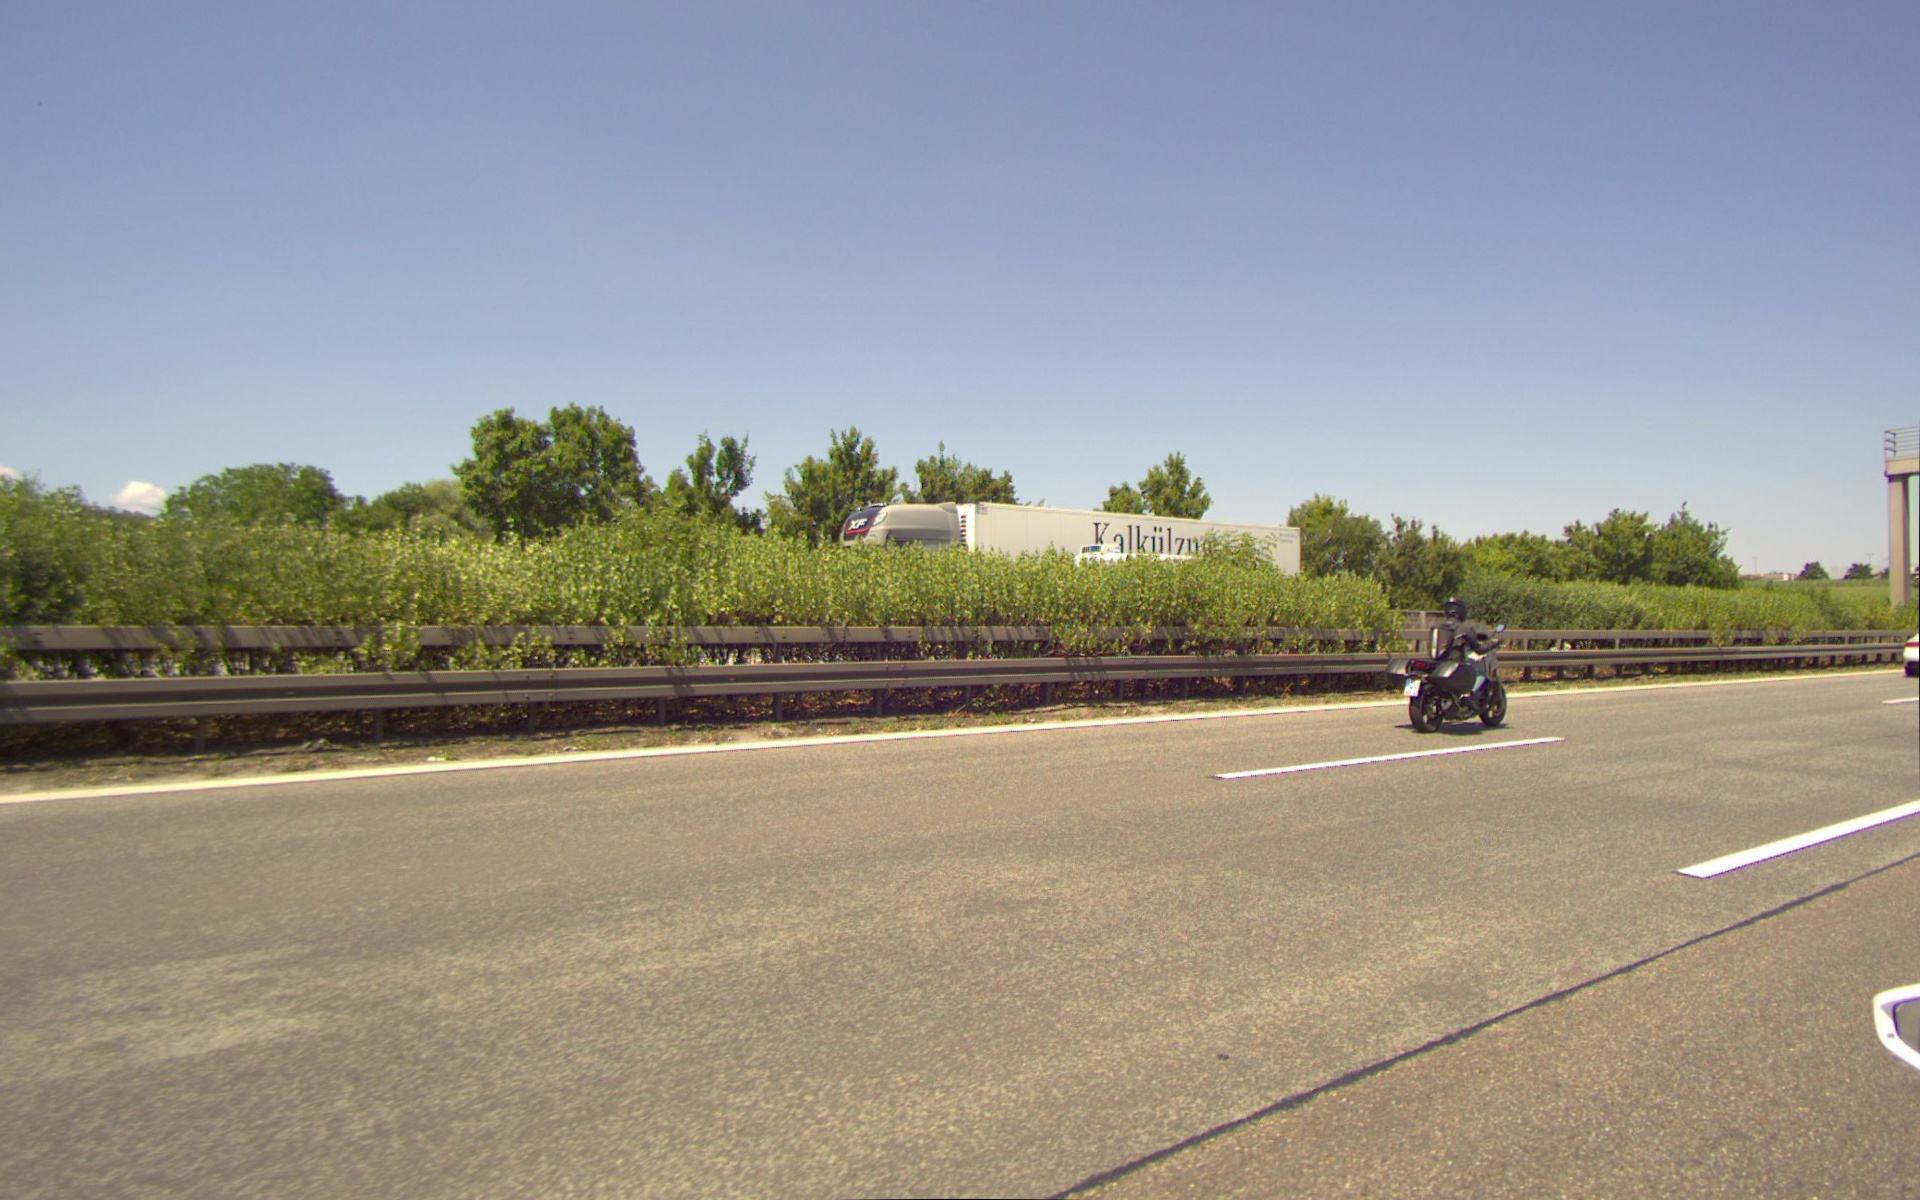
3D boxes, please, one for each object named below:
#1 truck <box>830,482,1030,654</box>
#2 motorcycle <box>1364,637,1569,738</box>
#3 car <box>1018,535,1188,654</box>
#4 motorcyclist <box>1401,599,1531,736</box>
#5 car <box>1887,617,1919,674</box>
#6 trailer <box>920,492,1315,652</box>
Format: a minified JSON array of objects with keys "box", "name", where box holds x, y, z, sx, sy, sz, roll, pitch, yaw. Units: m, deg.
[{"box":[-0.781,-0.748,27.001,4.698,4.211,2.589,1,0,-34],"name":"truck"},{"box":[6.412,1.049,12.659,2.816,1.103,0.908,1,0,-30],"name":"motorcycle"},{"box":[3.662,-0.097,25.618,3.958,2.802,1.982,1,0,-33],"name":"car"},{"box":[6.365,0.809,12.636,1.284,1.618,0.889,1,0,-30],"name":"motorcyclist"},{"box":[27.162,1.243,27.147,5.070,1.460,1.866,1,0,-33],"name":"car"},{"box":[5.445,-0.606,31.186,14.079,4.189,2.589,1,0,-34],"name":"trailer"}]
